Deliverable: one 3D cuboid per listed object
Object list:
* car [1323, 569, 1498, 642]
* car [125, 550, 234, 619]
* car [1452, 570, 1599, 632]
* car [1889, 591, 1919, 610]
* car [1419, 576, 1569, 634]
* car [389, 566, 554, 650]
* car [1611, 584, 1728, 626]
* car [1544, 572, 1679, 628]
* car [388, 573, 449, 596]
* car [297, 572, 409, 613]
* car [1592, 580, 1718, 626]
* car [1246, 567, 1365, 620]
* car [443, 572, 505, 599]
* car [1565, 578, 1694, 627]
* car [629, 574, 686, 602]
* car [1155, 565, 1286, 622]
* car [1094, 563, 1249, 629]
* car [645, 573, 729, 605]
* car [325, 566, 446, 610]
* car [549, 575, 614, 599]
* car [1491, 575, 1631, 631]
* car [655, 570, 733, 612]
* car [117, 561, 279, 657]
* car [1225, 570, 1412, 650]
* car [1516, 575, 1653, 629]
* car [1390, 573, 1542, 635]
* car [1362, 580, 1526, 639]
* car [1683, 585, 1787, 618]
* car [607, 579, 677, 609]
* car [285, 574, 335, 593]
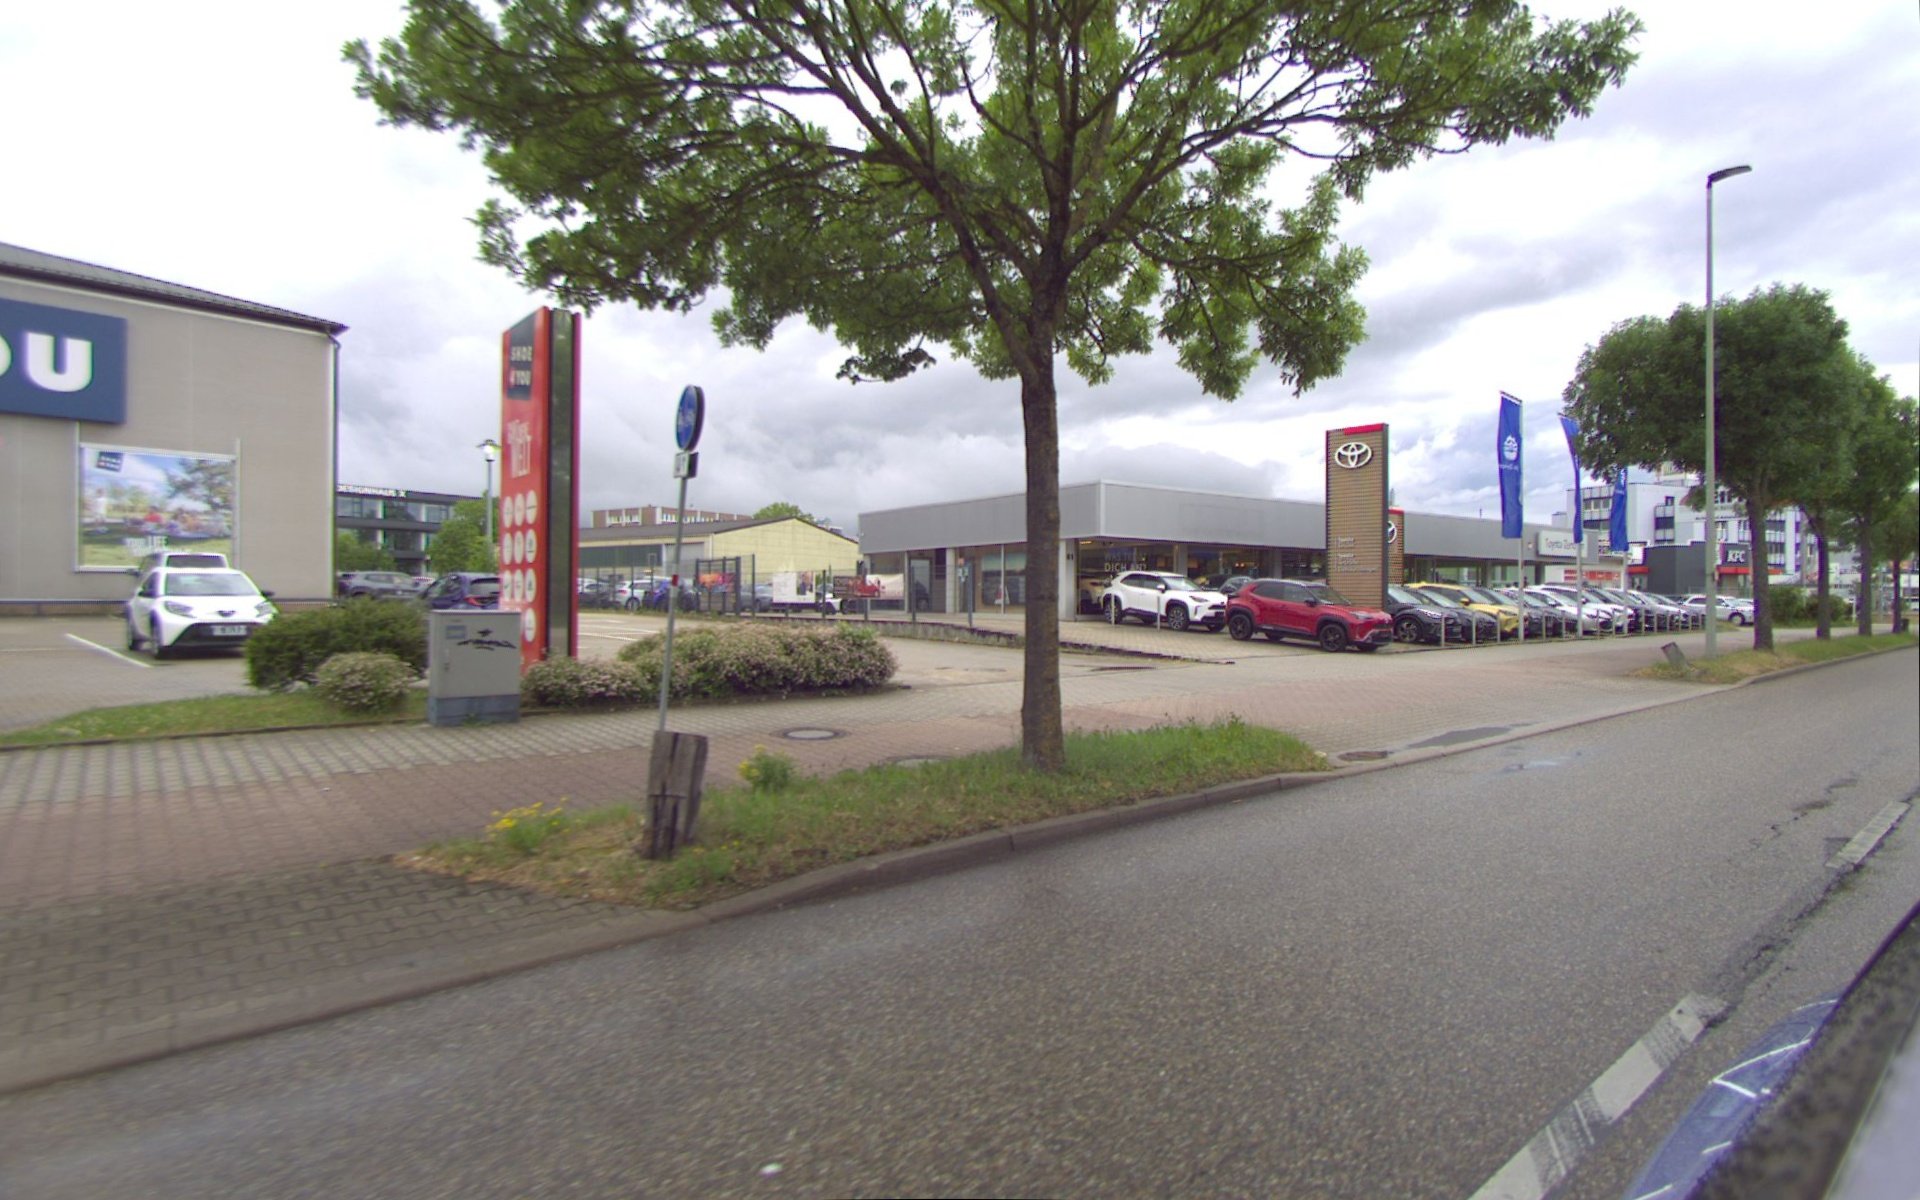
[{"bbox_3d":[12.400,0.103,28.056,1.811,1.667,4.000,1,4,-38],"label":"car"},{"bbox_3d":[-23.174,-0.464,29.995,4.242,1.884,1.906,1,1,43],"label":"car"},{"bbox_3d":[19.448,-0.012,34.948,1.778,1.808,4.001,1,4,-37],"label":"car"},{"bbox_3d":[105.193,0.089,110.748,1.958,2.039,4.797,1,1,-22],"label":"car"},{"bbox_3d":[17.599,0.122,33.514,1.679,1.565,4.001,1,4,-37],"label":"car"},{"bbox_3d":[-9.973,0.110,20.550,3.987,1.534,1.732,1,1,44],"label":"car"},{"bbox_3d":[31.334,0.179,44.765,1.795,1.478,3.844,0,5,-39],"label":"car"},{"bbox_3d":[25.704,-0.023,40.047,1.778,1.807,4.002,1,5,-37],"label":"car"},{"bbox_3d":[-39.624,-1.120,74.126,1.605,1.621,3.659,1,1,28],"label":"car"},{"bbox_3d":[-26.494,-0.331,44.242,1.669,1.687,3.936,1,1,44],"label":"car"},{"bbox_3d":[29.549,0.108,43.142,1.778,1.561,4.002,1,5,-37],"label":"car"},{"bbox_3d":[11.654,-0.226,34.034,4.047,1.641,1.879,0,2,-39],"label":"car"},{"bbox_3d":[-33.468,-1.011,69.728,1.605,1.822,3.659,1,1,28],"label":"car"},{"bbox_3d":[27.583,0.071,41.817,1.778,1.603,4.002,1,5,-37],"label":"car"},{"bbox_3d":[-22.599,-0.931,75.663,4.062,2.039,1.774,1,1,30],"label":"car"},{"bbox_3d":[8.161,-0.204,31.617,4.047,1.641,1.879,0,2,-39],"label":"car"},{"bbox_3d":[5.891,-0.164,28.597,1.845,1.641,4.124,1,2,-35],"label":"car"},{"bbox_3d":[-12.443,-0.470,46.169,3.429,1.383,1.464,0,-1,-40],"label":"car"},{"bbox_3d":[-23.144,-0.465,40.842,1.669,1.687,3.936,1,1,44],"label":"car"},{"bbox_3d":[-21.986,-0.738,58.823,3.277,1.388,1.336,0,-1,-40],"label":"car"},{"bbox_3d":[21.988,0.075,37.140,1.778,1.808,4.000,1,2,-37],"label":"car"},{"bbox_3d":[-11.282,-0.369,42.843,1.756,1.664,3.658,1,-1,-41],"label":"car"},{"bbox_3d":[-13.661,0.113,18.080,3.637,1.534,1.651,1,1,42],"label":"car"},{"bbox_3d":[8.558,0.176,24.401,1.763,1.623,3.852,0,3,-39],"label":"car"},{"bbox_3d":[23.853,0.049,38.773,1.780,1.606,3.999,1,5,-40],"label":"car"},{"bbox_3d":[15.811,0.079,31.750,1.638,1.584,3.847,0,5,-41],"label":"car"},{"bbox_3d":[14.195,0.239,29.859,1.767,1.558,3.997,0,1,-39],"label":"car"},{"bbox_3d":[42.173,0.056,55.200,1.943,1.617,4.078,1,2,-18],"label":"car"},{"bbox_3d":[-15.882,-0.288,50.623,3.093,1.473,1.336,0,-1,-40],"label":"car"},{"bbox_3d":[-53.389,-1.394,83.206,1.416,1.508,3.186,1,1,28],"label":"car"}]
